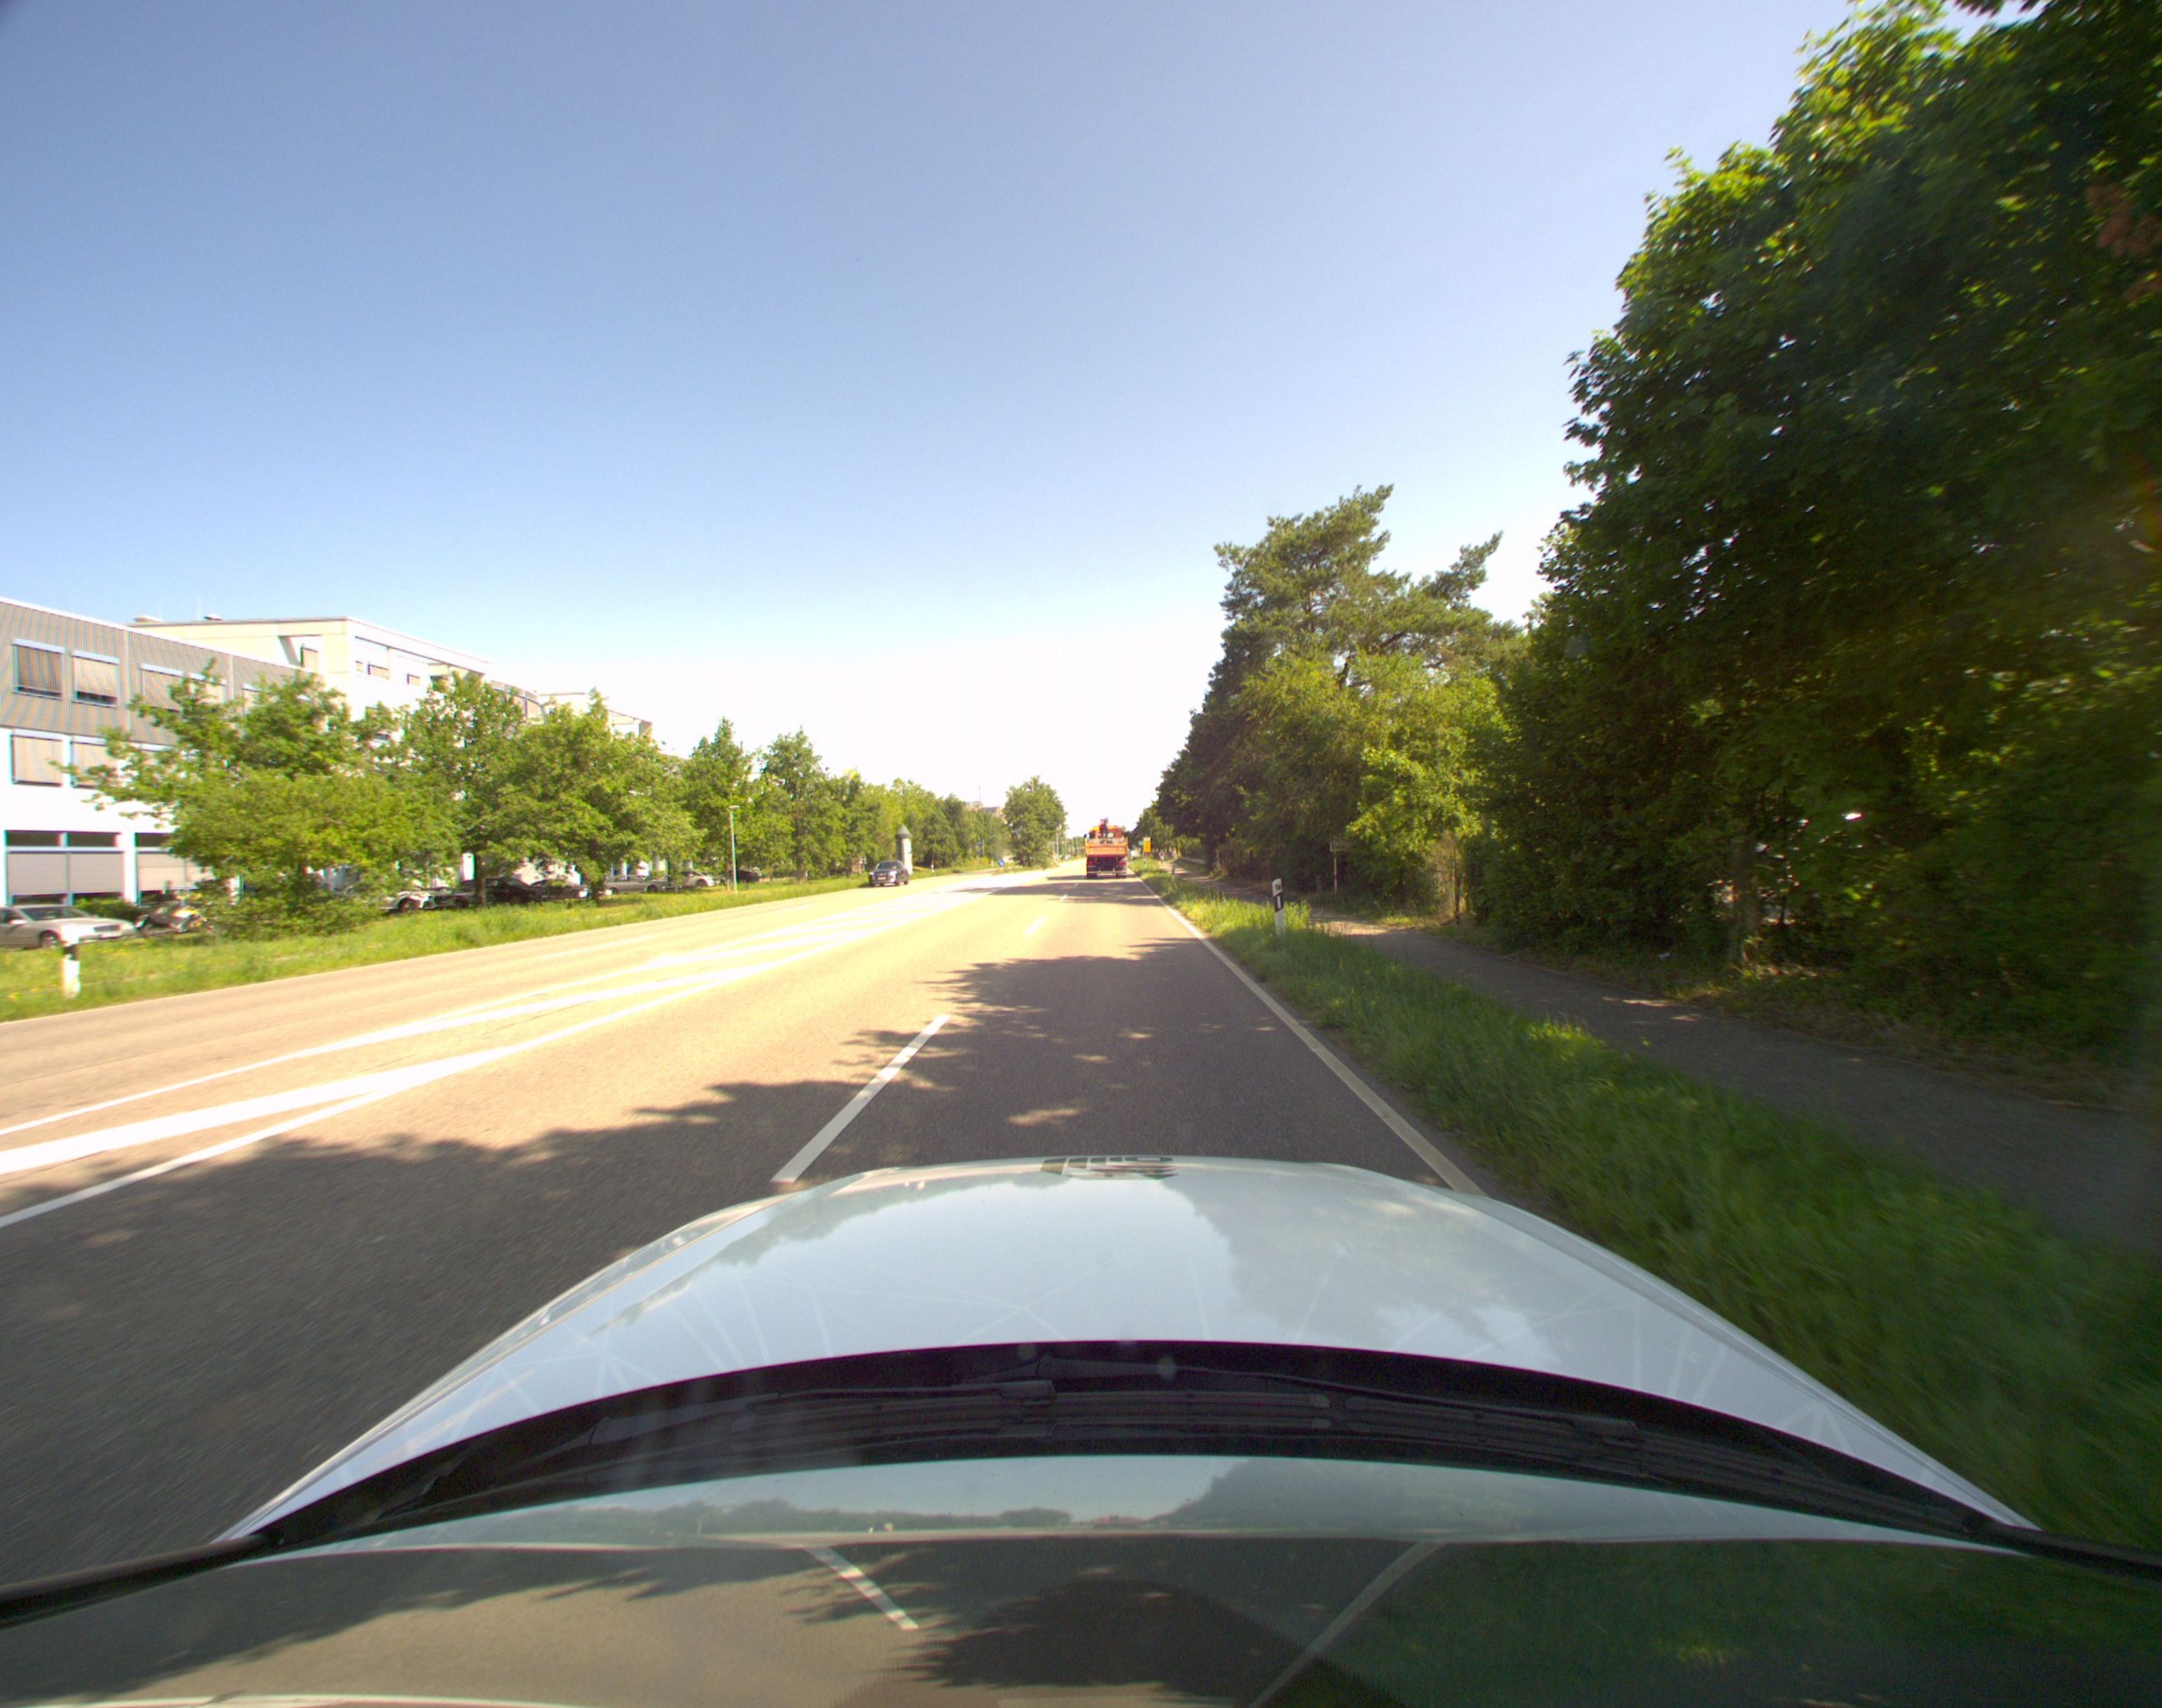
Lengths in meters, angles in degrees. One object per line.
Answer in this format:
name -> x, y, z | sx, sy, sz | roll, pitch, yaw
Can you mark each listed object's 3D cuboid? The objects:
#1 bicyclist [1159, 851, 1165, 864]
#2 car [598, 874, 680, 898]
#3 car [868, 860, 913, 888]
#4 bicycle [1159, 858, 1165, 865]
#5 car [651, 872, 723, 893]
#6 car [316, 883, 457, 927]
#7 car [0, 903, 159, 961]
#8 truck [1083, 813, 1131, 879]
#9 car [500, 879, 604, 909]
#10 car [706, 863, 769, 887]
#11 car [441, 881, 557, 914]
bicyclist -> 9.789, 0.425, 98.491 | 0.556, 1.558, 0.558 | -3, 0, 1
car -> -31.007, 2.221, 57.200 | 4.578, 1.437, 2.001 | -2, 0, 1
car -> -12.257, 1.249, 52.676 | 1.794, 1.572, 4.002 | -3, 0, 2
bicycle -> 9.812, 0.898, 98.583 | 0.556, 0.816, 1.965 | -3, 0, 2
car -> -30.730, 2.206, 63.639 | 4.578, 1.437, 2.001 | -2, 0, 1
car -> -31.114, 2.263, 36.598 | 4.578, 1.650, 2.001 | -2, 0, 1
car -> -31.284, 2.365, 24.594 | 4.578, 1.437, 2.001 | -2, 0, 1
truck -> 1.539, -0.498, 51.915 | 2.862, 3.880, 7.399 | 0, 0, 0
car -> -30.161, 2.285, 46.515 | 4.578, 1.437, 2.001 | -2, 0, 1
car -> -29.619, 1.786, 70.280 | 4.512, 1.758, 2.003 | -3, 0, 4
car -> -30.570, 2.289, 42.872 | 4.578, 1.437, 2.001 | -2, 0, 1
